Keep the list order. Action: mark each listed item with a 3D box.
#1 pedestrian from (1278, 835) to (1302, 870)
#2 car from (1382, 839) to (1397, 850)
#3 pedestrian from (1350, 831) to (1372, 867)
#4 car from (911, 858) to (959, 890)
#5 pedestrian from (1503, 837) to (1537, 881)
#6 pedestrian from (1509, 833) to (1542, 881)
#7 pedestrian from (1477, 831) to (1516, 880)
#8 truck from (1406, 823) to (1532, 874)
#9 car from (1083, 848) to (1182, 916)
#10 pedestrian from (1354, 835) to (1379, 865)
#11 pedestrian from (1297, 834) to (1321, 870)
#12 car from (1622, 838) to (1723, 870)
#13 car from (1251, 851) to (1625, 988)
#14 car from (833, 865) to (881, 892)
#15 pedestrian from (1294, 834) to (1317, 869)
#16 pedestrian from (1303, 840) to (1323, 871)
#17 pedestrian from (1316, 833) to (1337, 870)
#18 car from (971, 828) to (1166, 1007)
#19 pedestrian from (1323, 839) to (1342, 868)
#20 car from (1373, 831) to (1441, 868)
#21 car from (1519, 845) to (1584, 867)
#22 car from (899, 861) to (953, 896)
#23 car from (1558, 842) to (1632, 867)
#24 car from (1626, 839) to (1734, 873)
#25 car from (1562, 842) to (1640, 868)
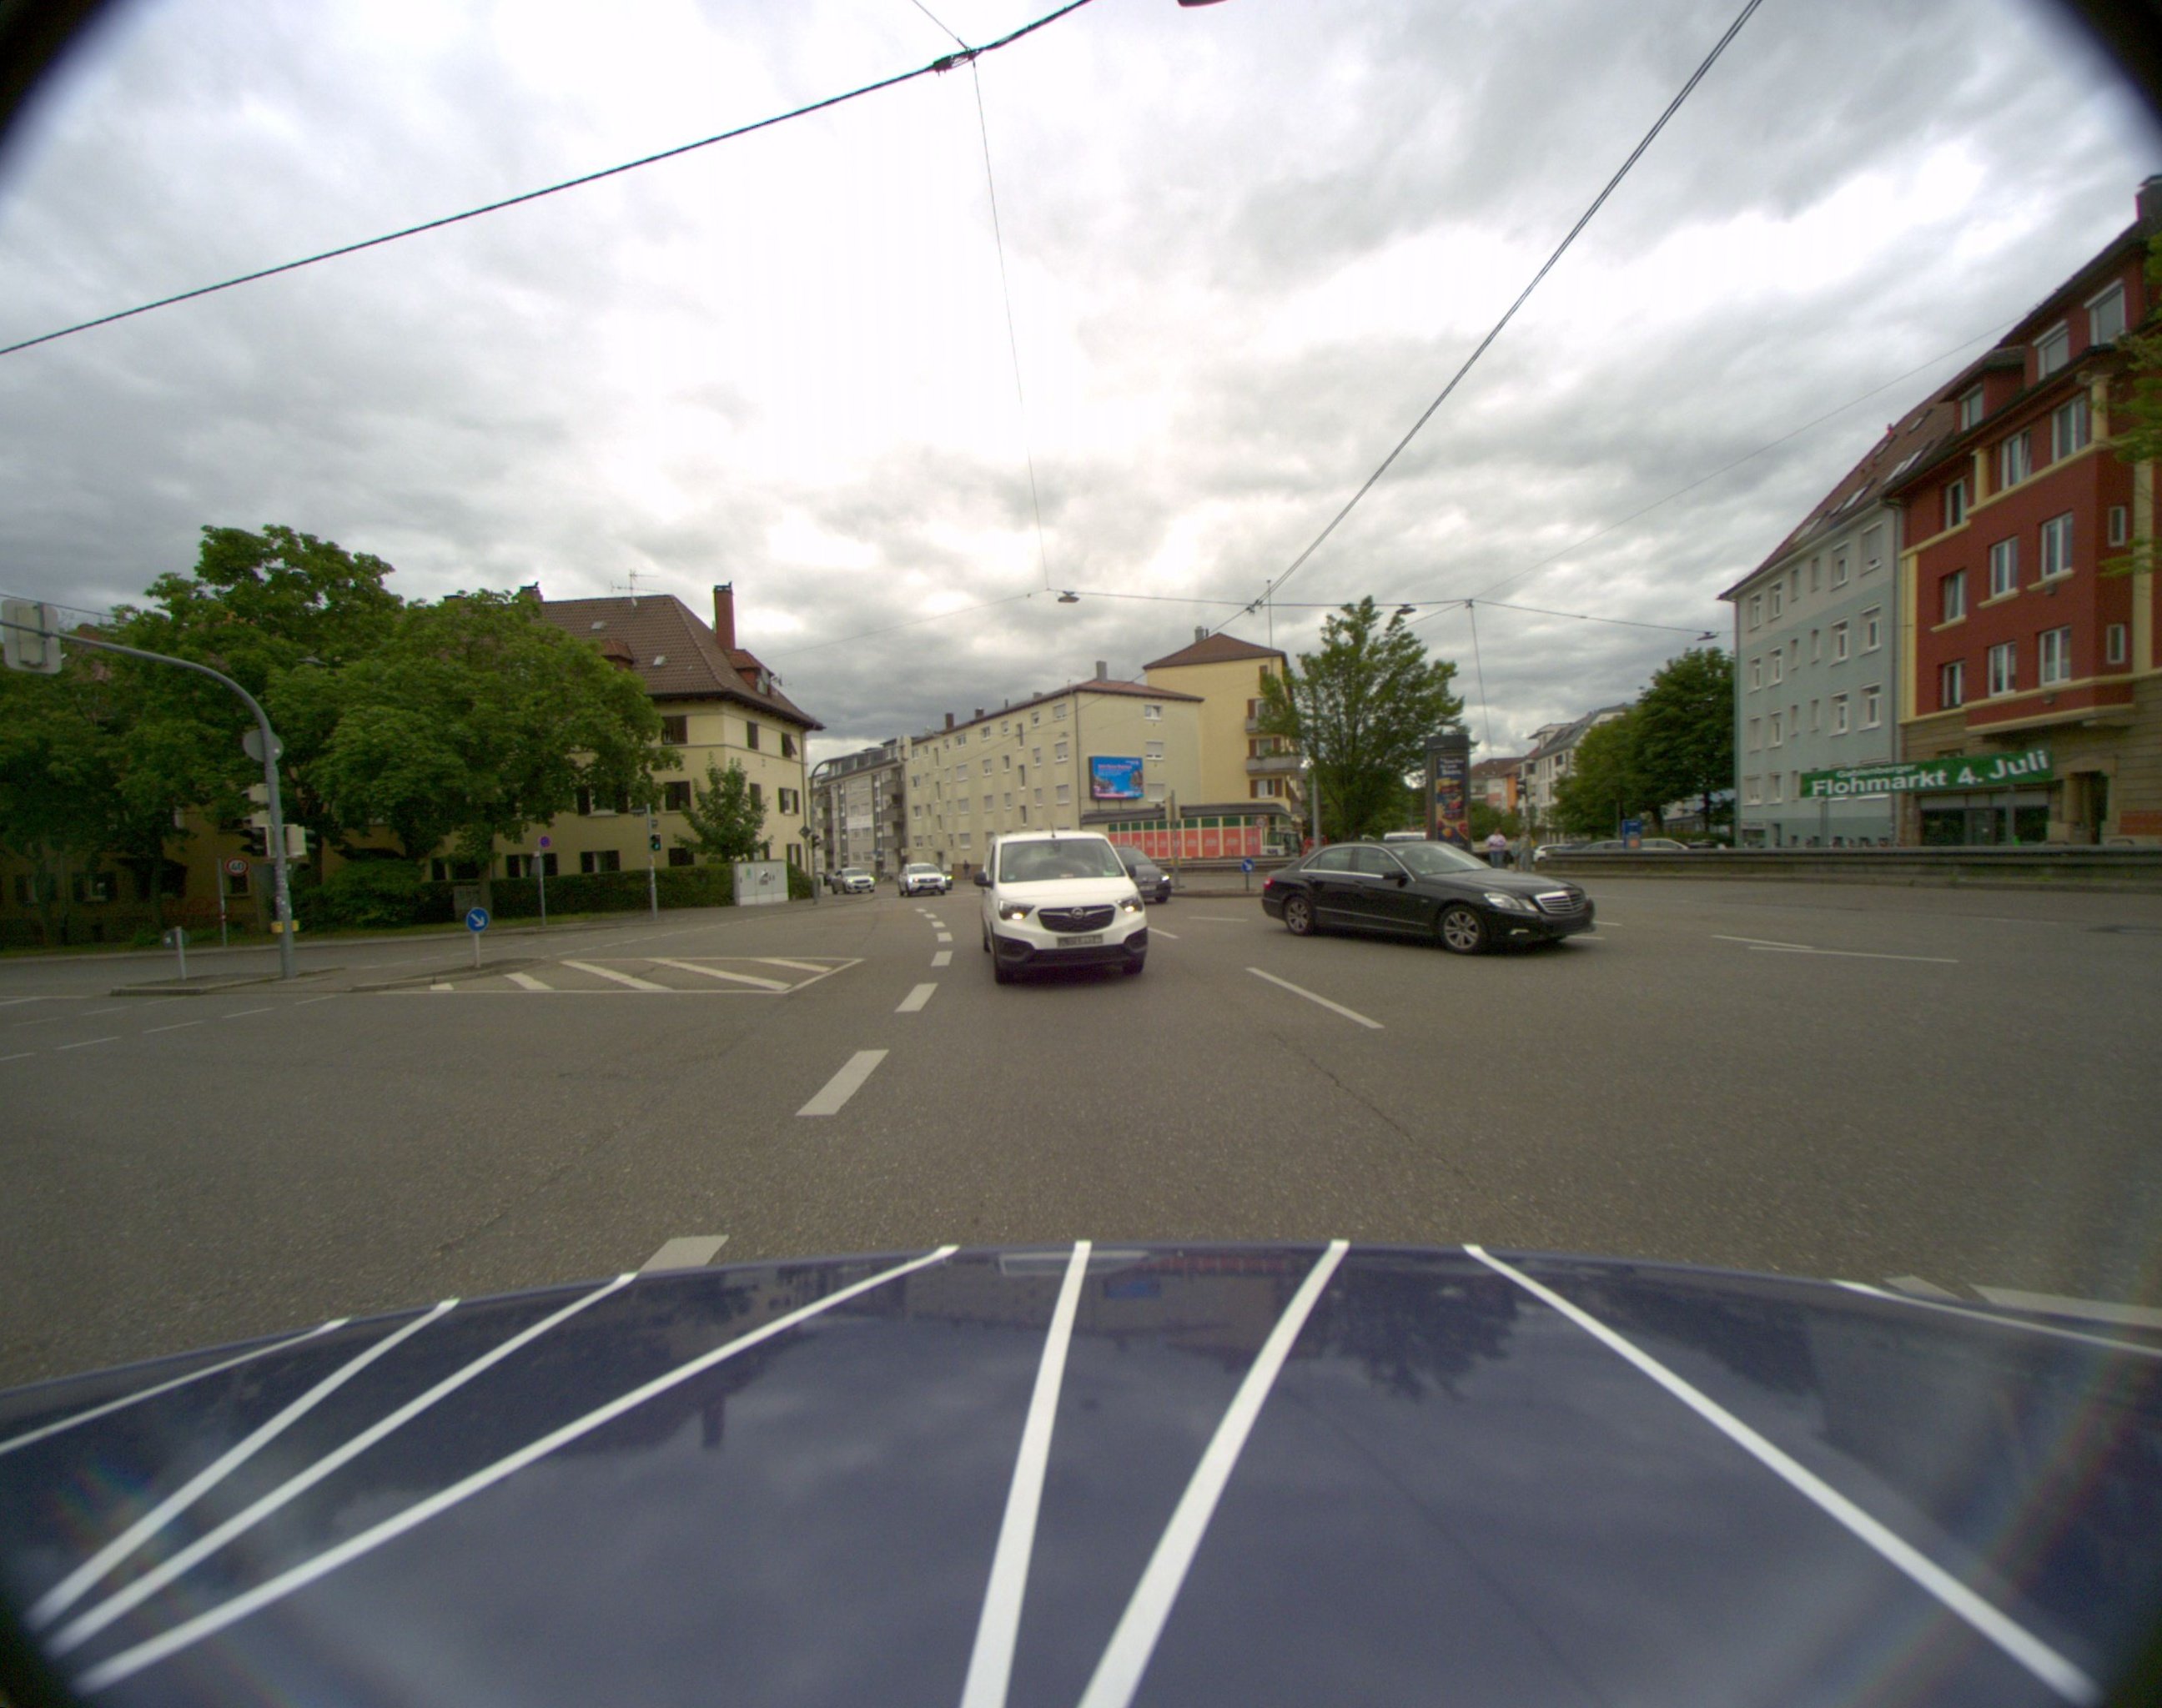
[{"bbox_3d":[9.693,-0.074,35.288,0.773,1.610,0.648,-4,2,-32],"label":"pedestrian"},{"bbox_3d":[52.966,-1.640,130.325,1.888,1.589,3.939,-2,1,29],"label":"car"},{"bbox_3d":[12.971,-0.230,35.191,0.770,1.610,0.651,-2,2,38],"label":"pedestrian"},{"bbox_3d":[-7.916,1.084,41.002,2.041,1.541,4.030,-2,-1,-17],"label":"car"},{"bbox_3d":[13.901,0.163,24.065,0.664,1.333,0.627,-3,2,-22],"label":"pedestrian"},{"bbox_3d":[13.721,0.080,23.457,0.605,1.424,0.600,-3,2,-22],"label":"pedestrian"},{"bbox_3d":[13.575,0.044,24.837,0.706,1.574,0.801,-3,2,-23],"label":"pedestrian"},{"bbox_3d":[21.742,-0.277,42.558,6.463,2.707,2.768,-1,-1,-23],"label":"truck"},{"bbox_3d":[1.350,0.755,21.920,1.858,1.605,4.726,-4,0,-7],"label":"car"},{"bbox_3d":[18.977,-0.281,50.533,0.929,1.948,1.266,-3,2,-13],"label":"pedestrian"},{"bbox_3d":[10.358,-0.093,34.576,0.770,1.610,0.651,-1,2,43],"label":"pedestrian"},{"bbox_3d":[32.359,0.000,41.648,1.896,1.589,3.923,-4,1,-34],"label":"car"},{"bbox_3d":[4.651,0.719,10.826,1.844,1.411,4.729,-3,1,-24],"label":"car"},{"bbox_3d":[-14.179,1.577,47.990,1.957,1.541,4.027,-2,-1,-30],"label":"car"},{"bbox_3d":[10.675,-0.136,36.085,0.773,1.610,0.648,-4,2,-27],"label":"pedestrian"},{"bbox_3d":[12.625,0.073,41.303,0.866,1.610,0.920,-2,2,24],"label":"pedestrian"},{"bbox_3d":[10.900,-0.105,33.785,0.606,1.610,0.553,-3,2,-24],"label":"pedestrian"},{"bbox_3d":[-0.448,0.688,10.433,1.859,1.798,4.725,-3,0,-10],"label":"car"},{"bbox_3d":[14.253,-0.037,43.023,0.866,1.610,0.920,-2,2,24],"label":"pedestrian"},{"bbox_3d":[15.742,-0.235,36.570,2.207,1.562,4.485,-2,1,33],"label":"car"},{"bbox_3d":[36.876,0.182,59.640,1.896,1.589,3.922,-4,2,-42],"label":"car"},{"bbox_3d":[-7.292,1.141,35.512,1.911,1.470,3.882,-2,-1,-20],"label":"car"},{"bbox_3d":[36.069,0.043,53.346,1.896,1.589,3.922,-4,2,-42],"label":"car"},{"bbox_3d":[30.809,0.119,39.177,1.896,1.589,3.923,-4,1,-34],"label":"car"},{"bbox_3d":[34.714,0.057,50.815,1.896,1.589,3.922,-4,2,-42],"label":"car"}]
